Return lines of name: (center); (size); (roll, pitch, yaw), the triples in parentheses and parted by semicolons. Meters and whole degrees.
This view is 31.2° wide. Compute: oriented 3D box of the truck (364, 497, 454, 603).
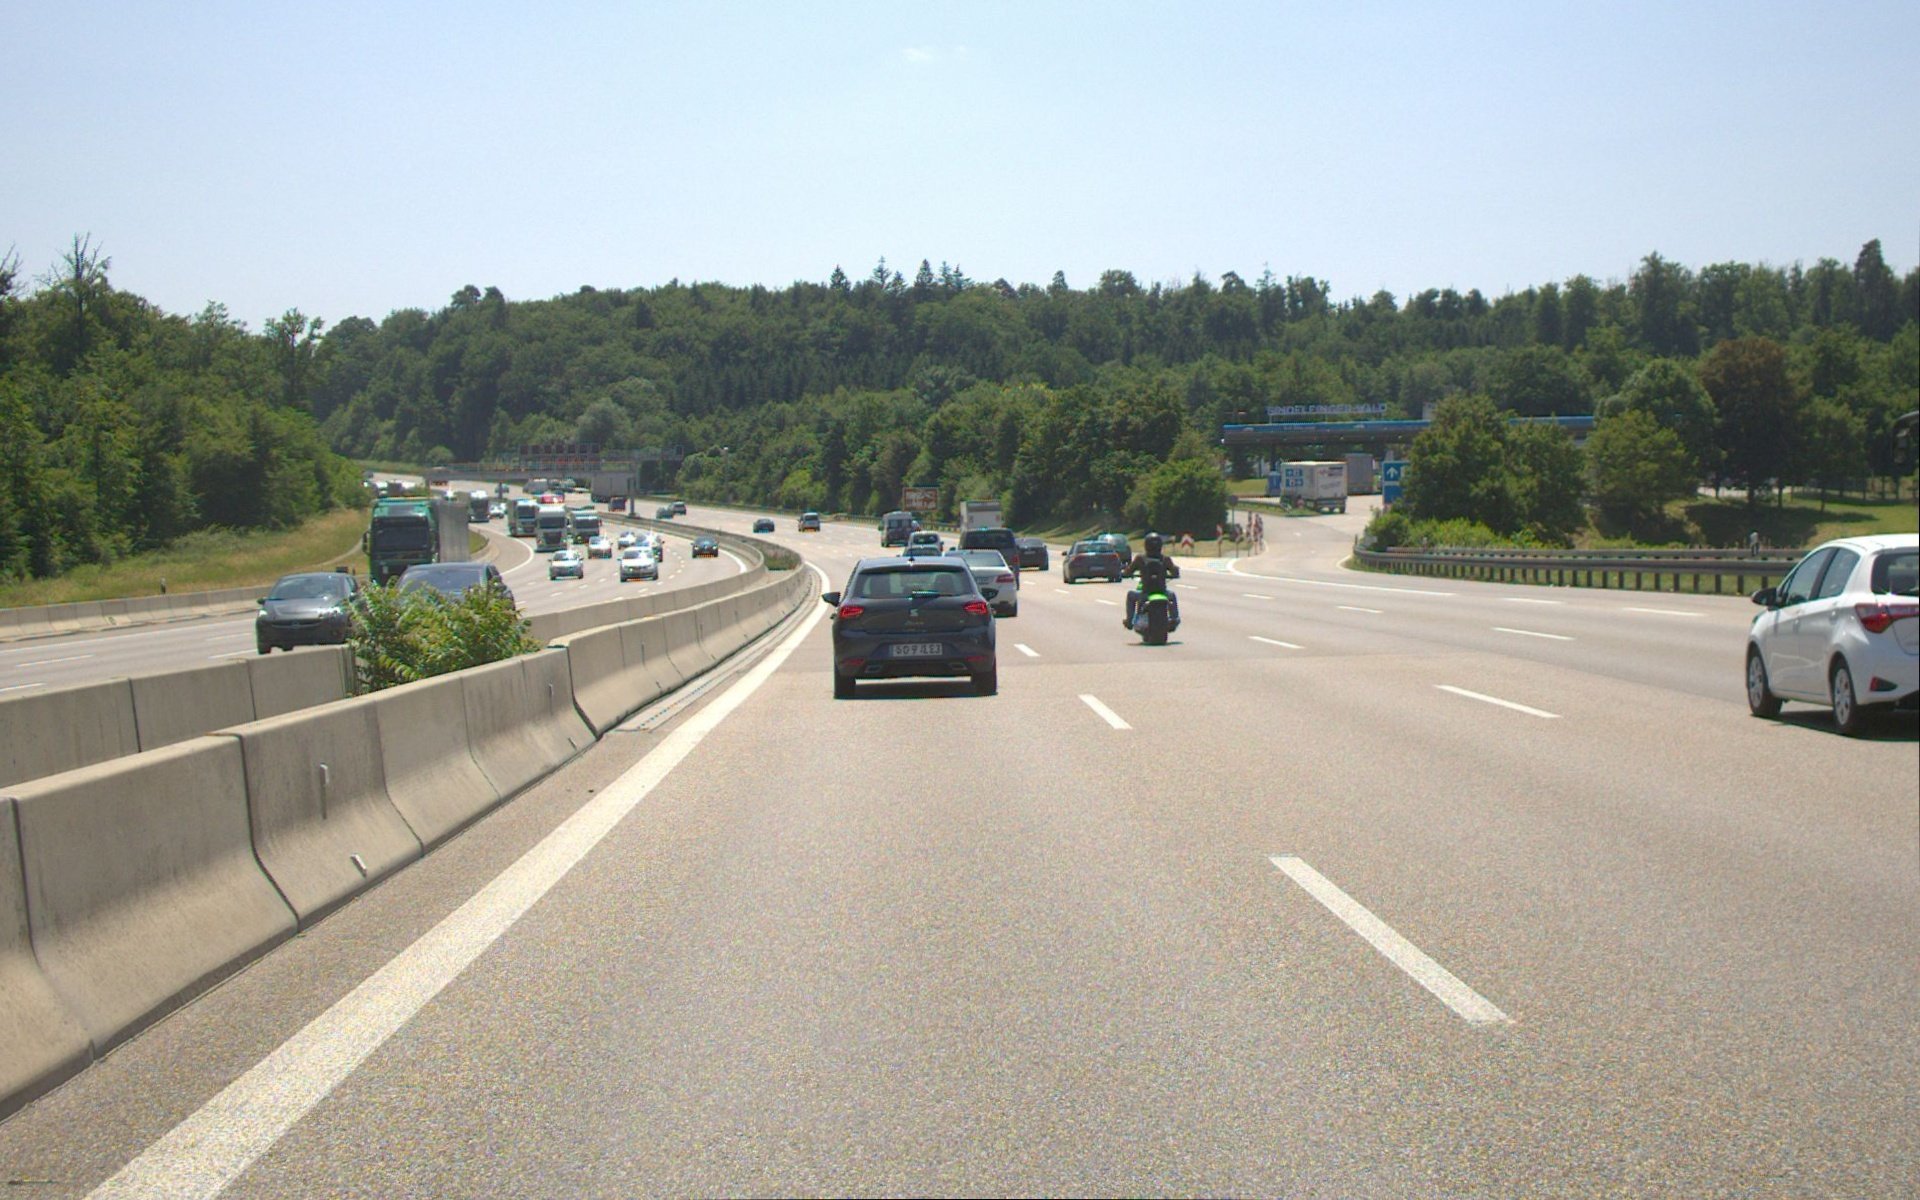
truck: (-21.557, -1.980, 134.715); (2.657, 4.012, 5.511); (-2, 1, -2)

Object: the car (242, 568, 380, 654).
car: (-12.191, 0.182, 64.845); (1.767, 1.473, 4.481); (-1, 1, -1)

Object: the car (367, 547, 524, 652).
car: (-8.276, -0.047, 55.692); (1.831, 1.563, 4.786); (-2, 1, -1)

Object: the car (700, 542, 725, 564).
car: (-17.530, -3.316, 243.623); (1.601, 1.463, 4.506); (-2, 1, -2)

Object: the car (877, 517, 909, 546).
car: (-4.934, -5.064, 252.935); (1.993, 2.006, 4.675); (1, 2, -5)

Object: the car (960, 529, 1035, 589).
car: (1.173, -1.316, 109.716); (2.097, 1.845, 4.081); (-1, 1, -3)

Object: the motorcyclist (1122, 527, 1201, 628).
motorcyclist: (2.977, -0.335, 50.838); (0.962, 1.432, 1.235); (-2, 2, -4)

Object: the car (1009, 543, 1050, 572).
car: (3.021, -1.872, 150.172); (1.608, 1.208, 3.460); (-1, 1, -2)

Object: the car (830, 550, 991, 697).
car: (-0.502, 0.221, 36.695); (1.624, 1.482, 3.685); (0, 1, 0)

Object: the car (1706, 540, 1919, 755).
car: (7.229, 0.301, 26.916); (1.666, 1.428, 4.376); (-4, 1, -1)

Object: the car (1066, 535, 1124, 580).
car: (4.553, -1.443, 116.373); (1.675, 1.427, 3.685); (-2, 1, -2)

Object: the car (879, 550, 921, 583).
car: (-2.298, -1.283, 132.000); (1.536, 1.208, 3.460); (-1, 1, -2)

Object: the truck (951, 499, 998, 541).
truck: (0.976, -5.479, 235.679); (2.726, 2.776, 5.684); (1, 2, -5)

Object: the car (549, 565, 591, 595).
car: (-20.787, -1.083, 183.476); (1.872, 1.529, 4.136); (-2, 1, -2)

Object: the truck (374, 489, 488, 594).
truck: (-21.712, -2.435, 141.798); (2.690, 4.012, 14.299); (-2, 1, -1)

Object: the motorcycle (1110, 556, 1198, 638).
motorcycle: (2.861, -0.058, 50.938); (0.977, 1.125, 2.271); (-1, 2, -5)

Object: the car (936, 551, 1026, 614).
car: (0.432, -0.388, 73.677); (1.782, 1.261, 3.460); (-1, 1, -2)

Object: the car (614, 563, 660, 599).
car: (-15.491, -0.930, 165.163); (1.831, 1.556, 4.777); (-3, 1, -2)

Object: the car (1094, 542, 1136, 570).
car: (6.958, -1.979, 154.598); (1.608, 1.208, 3.460); (-1, 1, -2)
